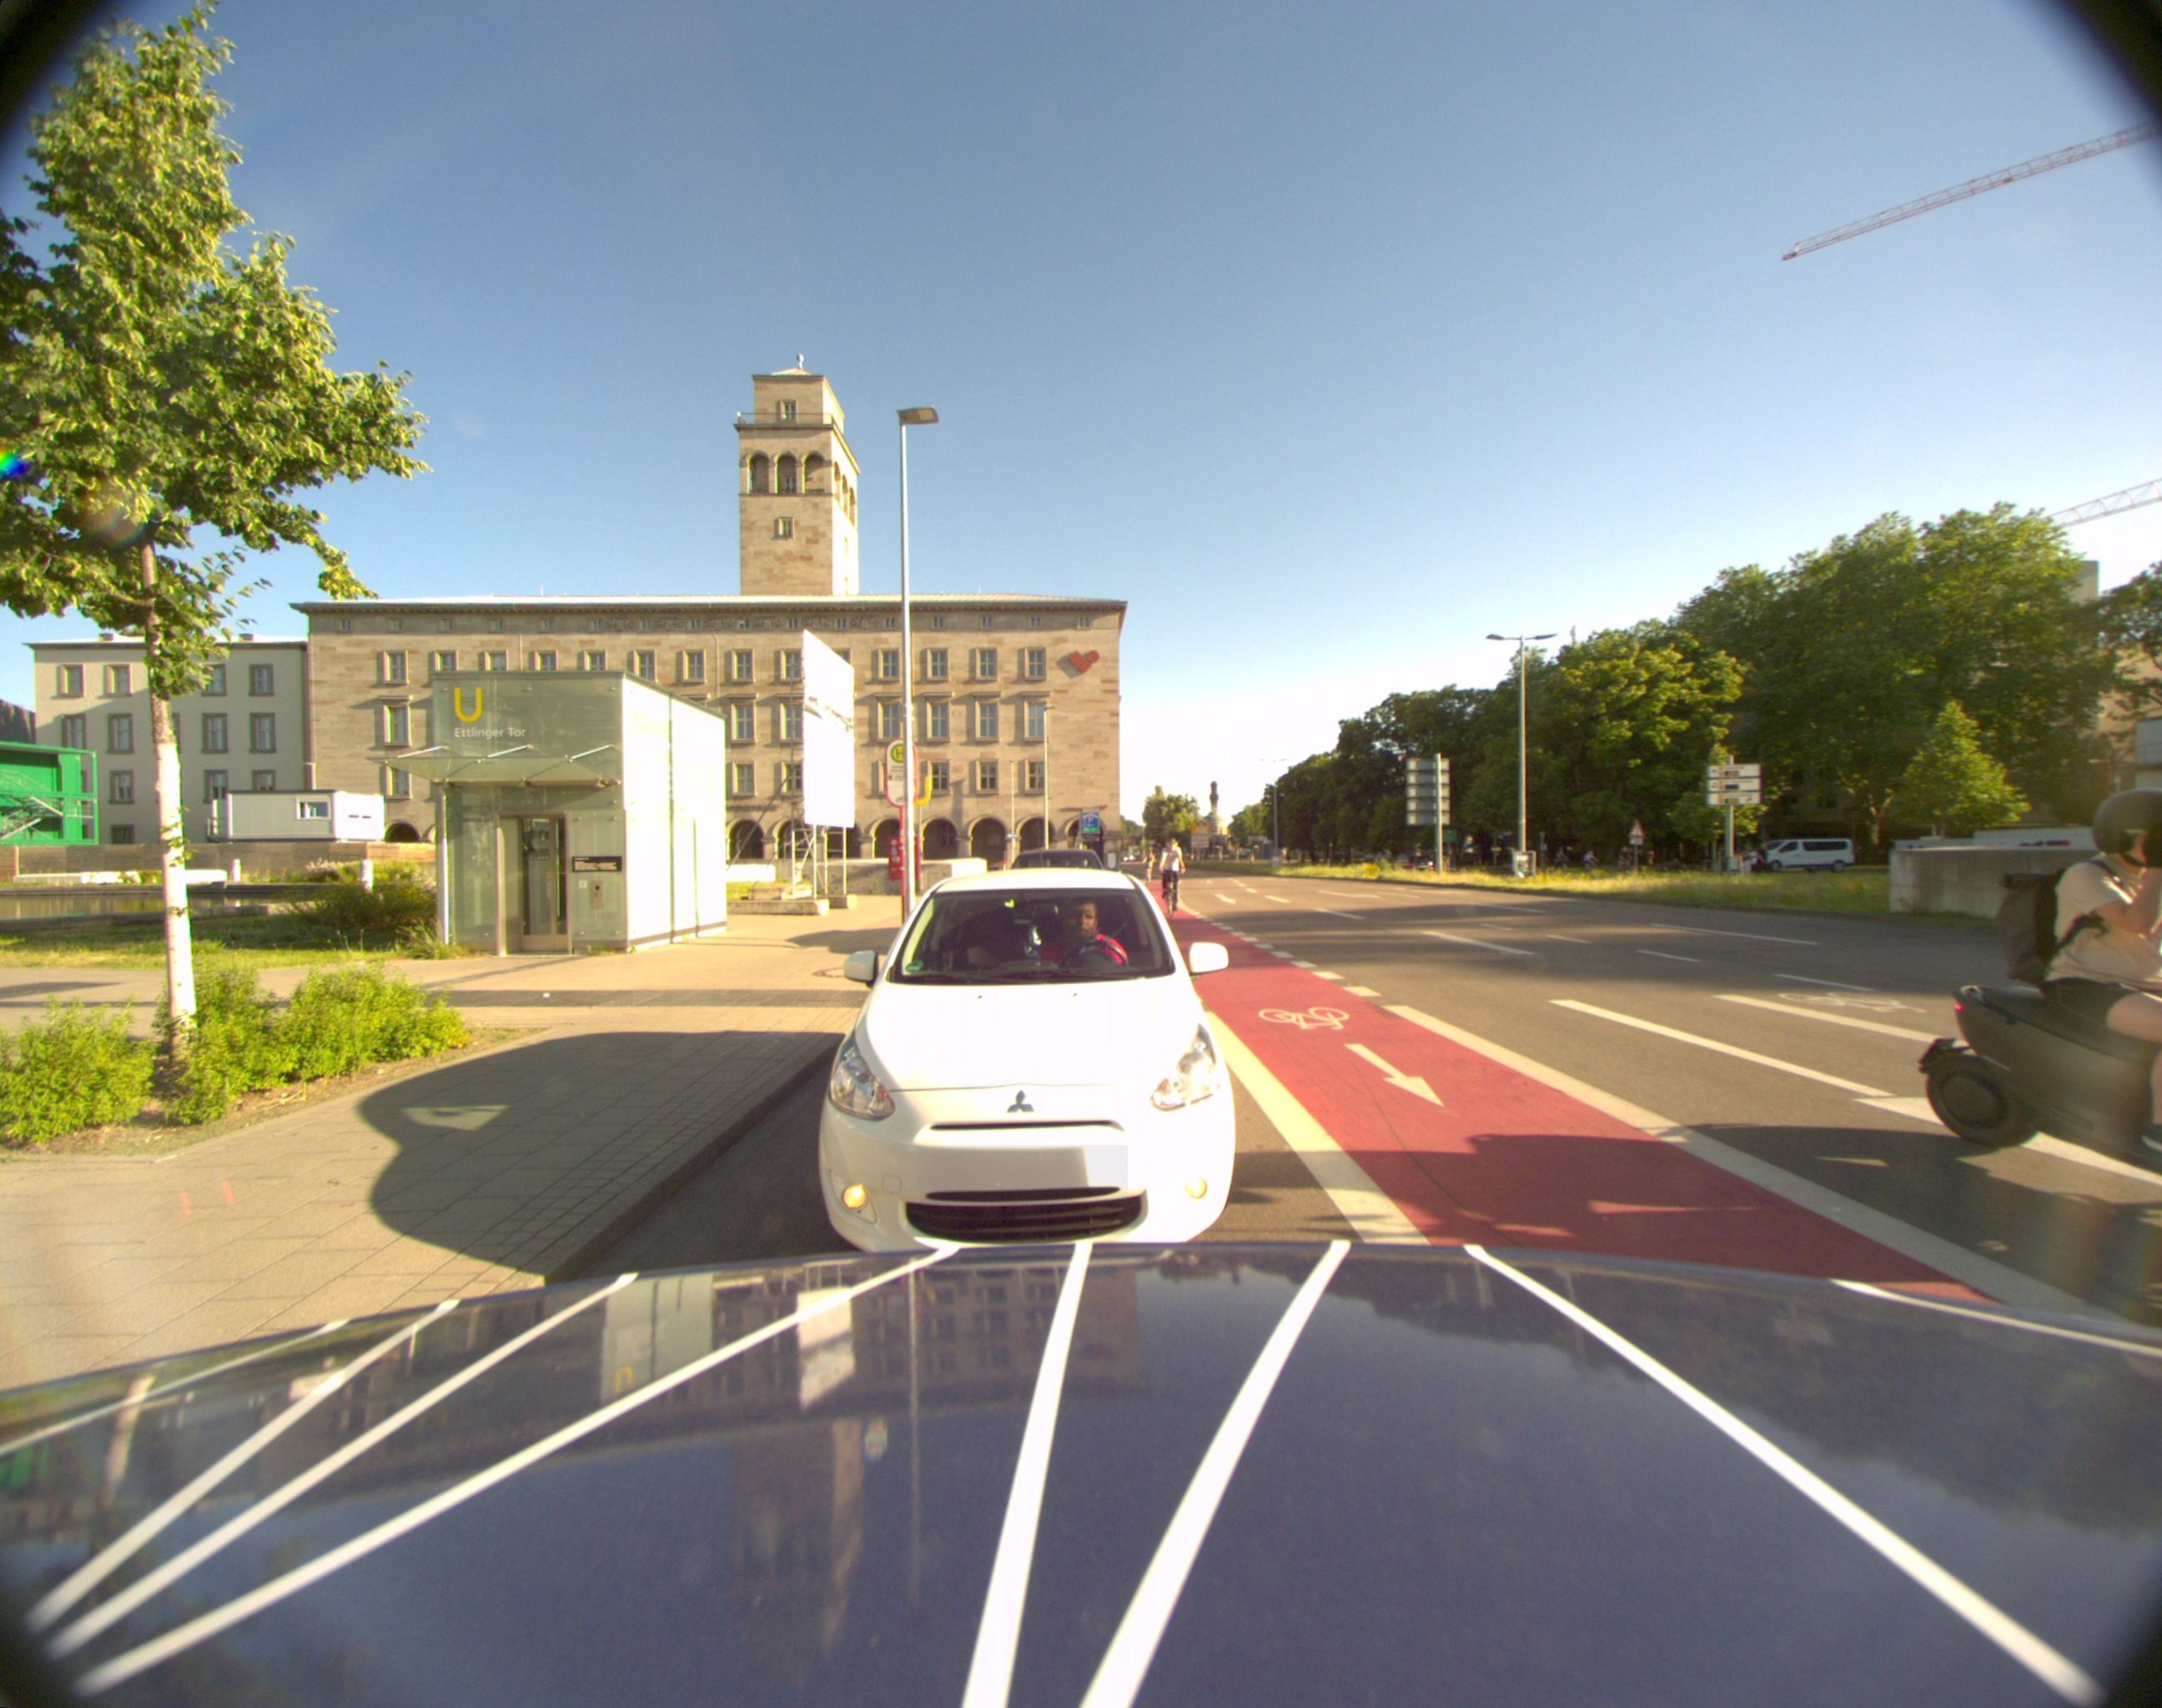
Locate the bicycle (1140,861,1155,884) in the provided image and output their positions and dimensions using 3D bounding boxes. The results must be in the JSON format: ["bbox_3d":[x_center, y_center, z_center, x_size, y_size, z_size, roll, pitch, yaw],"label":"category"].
[{"bbox_3d":[3.647,1.002,41.838,0.689,1.185,1.506,-1,1,1],"label":"bicycle"}]

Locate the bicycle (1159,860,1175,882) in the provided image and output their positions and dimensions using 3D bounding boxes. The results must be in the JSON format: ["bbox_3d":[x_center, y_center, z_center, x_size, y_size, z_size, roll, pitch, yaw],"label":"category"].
[{"bbox_3d":[4.677,0.907,41.433,0.689,1.185,1.506,-1,1,1],"label":"bicycle"}]

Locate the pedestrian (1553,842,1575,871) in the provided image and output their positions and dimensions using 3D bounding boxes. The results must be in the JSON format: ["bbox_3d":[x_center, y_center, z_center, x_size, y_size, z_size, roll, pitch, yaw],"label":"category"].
[{"bbox_3d":[33.260,0.164,52.291,0.841,2.002,0.955,-3,1,-25],"label":"pedestrian"}]

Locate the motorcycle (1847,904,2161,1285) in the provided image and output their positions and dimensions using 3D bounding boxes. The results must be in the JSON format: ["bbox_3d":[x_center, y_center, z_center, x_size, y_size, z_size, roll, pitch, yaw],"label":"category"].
[{"bbox_3d":[4.270,0.897,2.858,0.828,1.273,1.944,-1,0,1],"label":"motorcycle"}]

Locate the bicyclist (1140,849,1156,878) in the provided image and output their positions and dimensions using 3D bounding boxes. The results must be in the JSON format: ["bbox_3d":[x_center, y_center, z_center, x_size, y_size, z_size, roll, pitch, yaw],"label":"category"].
[{"bbox_3d":[3.683,0.538,41.901,0.823,1.568,0.877,-1,1,1],"label":"bicyclist"}]

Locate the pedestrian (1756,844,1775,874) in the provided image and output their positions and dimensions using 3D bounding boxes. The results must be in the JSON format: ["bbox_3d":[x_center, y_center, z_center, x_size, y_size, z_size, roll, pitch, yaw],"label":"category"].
[{"bbox_3d":[34.014,0.240,37.773,0.499,1.502,0.494,-1,1,1],"label":"pedestrian"}]

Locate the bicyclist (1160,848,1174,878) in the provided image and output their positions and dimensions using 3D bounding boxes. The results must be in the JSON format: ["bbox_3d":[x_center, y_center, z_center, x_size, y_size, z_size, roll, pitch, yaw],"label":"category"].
[{"bbox_3d":[4.667,0.481,41.366,0.674,1.649,0.877,-1,1,1],"label":"bicyclist"}]

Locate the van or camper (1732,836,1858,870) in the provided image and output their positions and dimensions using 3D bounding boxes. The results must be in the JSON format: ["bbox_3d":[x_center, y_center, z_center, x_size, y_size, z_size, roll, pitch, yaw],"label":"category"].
[{"bbox_3d":[42.238,-0.046,45.059,5.499,1.934,1.951,-1,0,4],"label":"van or camper"}]

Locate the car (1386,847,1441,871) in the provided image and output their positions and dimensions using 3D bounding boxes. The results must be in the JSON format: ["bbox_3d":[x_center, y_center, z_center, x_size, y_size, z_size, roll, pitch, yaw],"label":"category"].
[{"bbox_3d":[21.702,0.314,49.753,1.881,1.472,3.980,-1,0,1],"label":"car"}]

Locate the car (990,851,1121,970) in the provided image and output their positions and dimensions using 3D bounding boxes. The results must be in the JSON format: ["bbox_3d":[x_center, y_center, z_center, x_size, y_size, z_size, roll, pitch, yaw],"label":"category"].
[{"bbox_3d":[-0.334,0.794,12.747,1.833,1.660,4.000,-1,0,1],"label":"car"}]

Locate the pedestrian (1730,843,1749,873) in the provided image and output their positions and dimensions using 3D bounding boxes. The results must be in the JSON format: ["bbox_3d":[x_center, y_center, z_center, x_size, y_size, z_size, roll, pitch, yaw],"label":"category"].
[{"bbox_3d":[32.535,0.201,37.538,0.499,1.502,0.494,-1,1,1],"label":"pedestrian"}]

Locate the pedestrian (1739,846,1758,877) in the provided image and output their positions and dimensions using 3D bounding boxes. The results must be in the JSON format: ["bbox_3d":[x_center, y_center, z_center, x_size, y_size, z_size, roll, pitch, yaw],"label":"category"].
[{"bbox_3d":[33.233,0.381,37.837,0.499,1.502,0.494,-1,1,1],"label":"pedestrian"}]

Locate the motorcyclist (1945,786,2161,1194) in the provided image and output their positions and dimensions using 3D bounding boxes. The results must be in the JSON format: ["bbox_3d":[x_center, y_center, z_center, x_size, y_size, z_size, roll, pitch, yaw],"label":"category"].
[{"bbox_3d":[4.265,0.481,2.949,0.823,1.455,0.877,-1,1,1],"label":"motorcyclist"}]

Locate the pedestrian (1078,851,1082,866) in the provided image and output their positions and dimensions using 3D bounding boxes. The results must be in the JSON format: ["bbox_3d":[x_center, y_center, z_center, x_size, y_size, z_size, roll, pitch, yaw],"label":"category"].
[{"bbox_3d":[-0.145,0.613,106.823,0.612,2.002,0.727,-2,1,0],"label":"pedestrian"}]

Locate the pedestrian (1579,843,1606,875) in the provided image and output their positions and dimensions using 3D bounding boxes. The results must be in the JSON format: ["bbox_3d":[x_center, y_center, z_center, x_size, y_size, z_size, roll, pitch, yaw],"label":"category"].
[{"bbox_3d":[32.745,0.318,48.642,0.951,1.952,1.058,-2,1,-14],"label":"pedestrian"}]

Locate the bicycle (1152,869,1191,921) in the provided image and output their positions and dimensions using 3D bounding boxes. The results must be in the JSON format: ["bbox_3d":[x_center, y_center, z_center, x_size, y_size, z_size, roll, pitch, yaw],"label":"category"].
[{"bbox_3d":[2.180,0.958,18.454,0.741,1.140,1.890,-1,0,1],"label":"bicycle"}]

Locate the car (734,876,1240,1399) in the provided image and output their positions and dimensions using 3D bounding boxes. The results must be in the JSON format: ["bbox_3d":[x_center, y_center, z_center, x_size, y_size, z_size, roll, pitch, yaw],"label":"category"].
[{"bbox_3d":[-0.257,0.925,4.307,1.519,1.447,4.000,-1,0,1],"label":"car"}]

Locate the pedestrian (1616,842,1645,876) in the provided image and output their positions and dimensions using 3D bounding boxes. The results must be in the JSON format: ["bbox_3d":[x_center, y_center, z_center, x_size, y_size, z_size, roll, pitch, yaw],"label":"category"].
[{"bbox_3d":[32.912,0.286,45.537,1.126,1.952,0.815,-2,1,1],"label":"pedestrian"}]

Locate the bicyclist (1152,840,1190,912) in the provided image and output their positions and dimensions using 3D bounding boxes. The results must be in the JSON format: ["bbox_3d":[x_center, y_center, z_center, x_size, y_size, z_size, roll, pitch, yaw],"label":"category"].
[{"bbox_3d":[2.163,0.518,18.387,0.807,1.690,0.852,-1,1,1],"label":"bicyclist"}]
